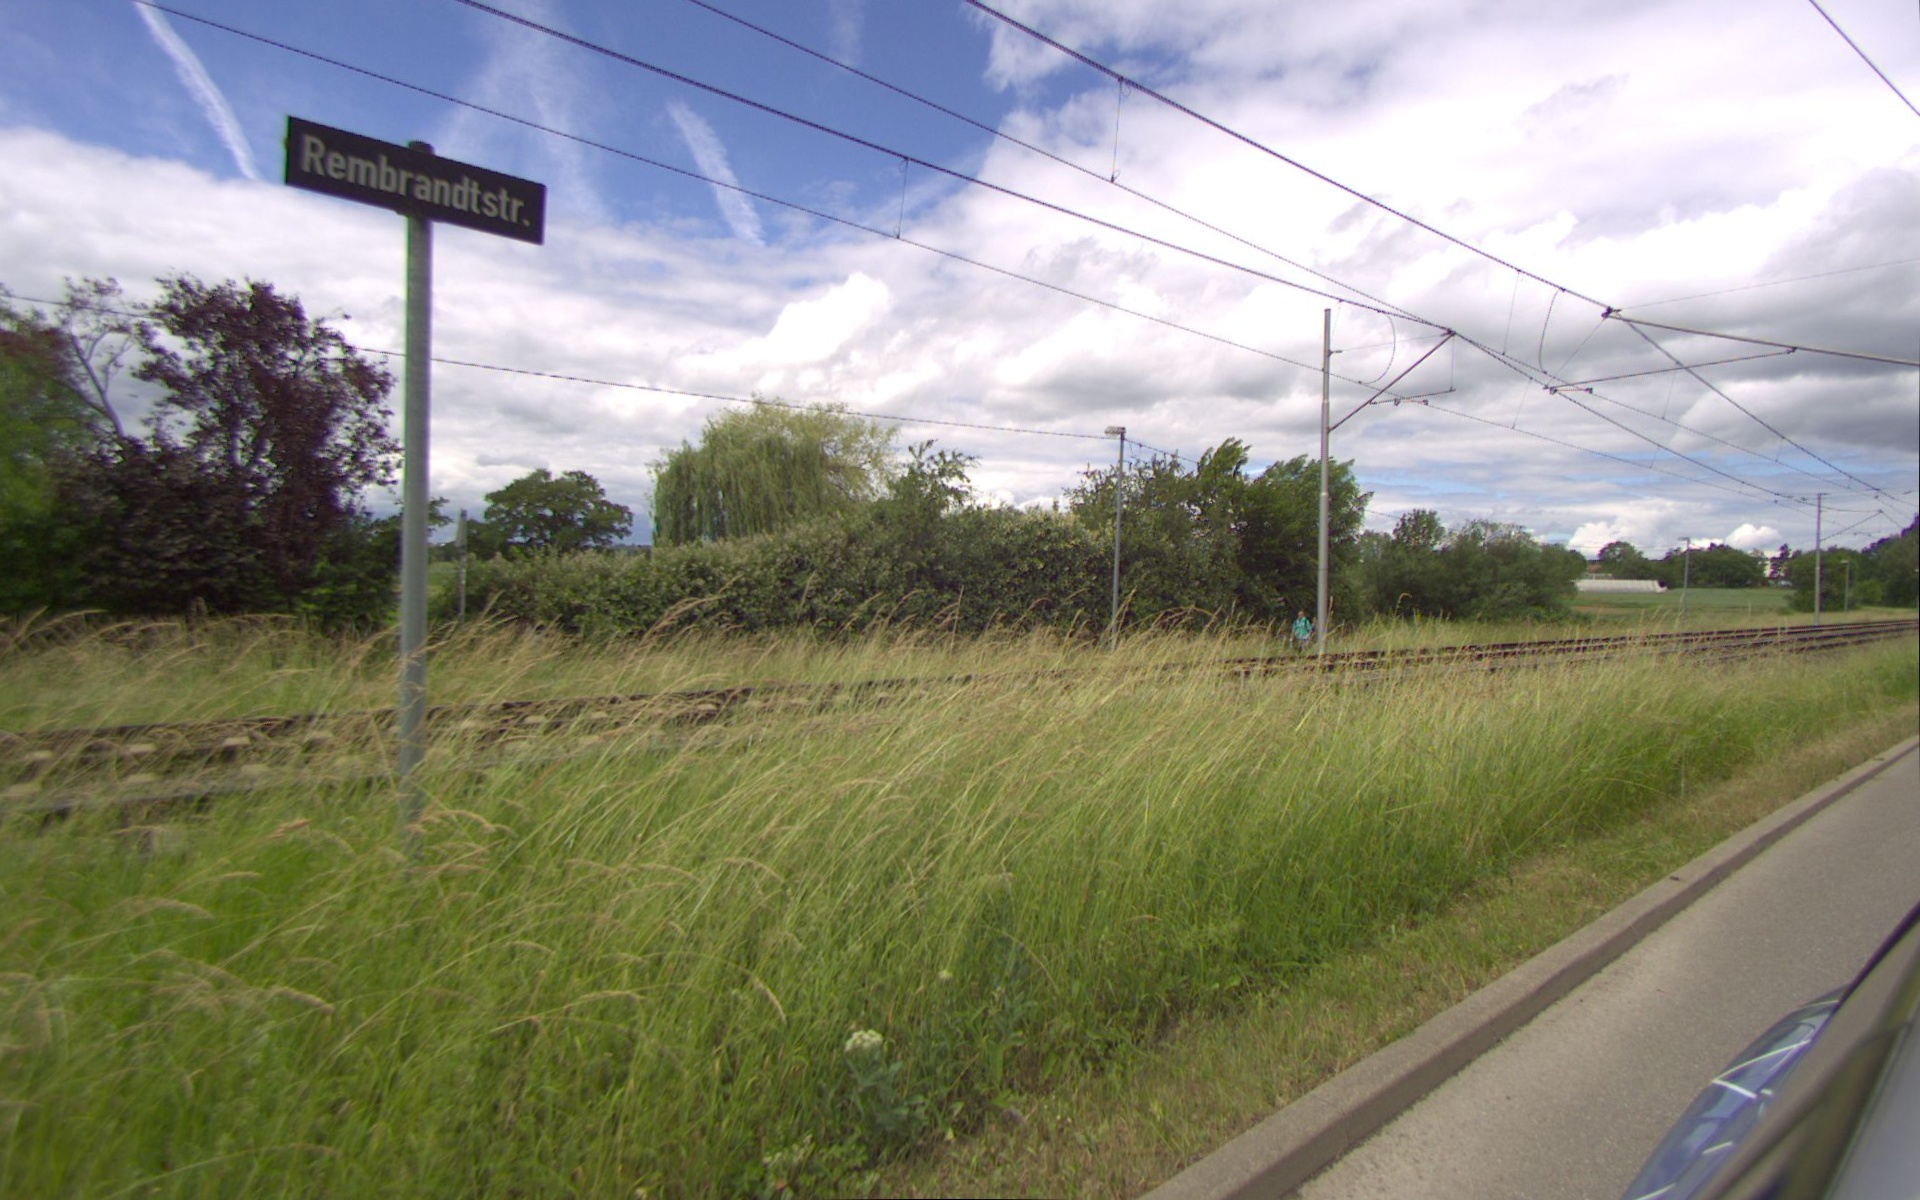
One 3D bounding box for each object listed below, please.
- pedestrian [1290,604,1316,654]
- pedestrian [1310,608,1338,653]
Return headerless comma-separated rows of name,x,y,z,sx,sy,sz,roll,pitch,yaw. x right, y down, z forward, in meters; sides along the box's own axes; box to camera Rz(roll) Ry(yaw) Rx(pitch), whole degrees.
pedestrian,11.570,0.961,34.111,0.573,1.643,0.618,0,-1,-37
pedestrian,11.970,1.003,33.266,0.654,1.449,0.599,0,-1,-39
